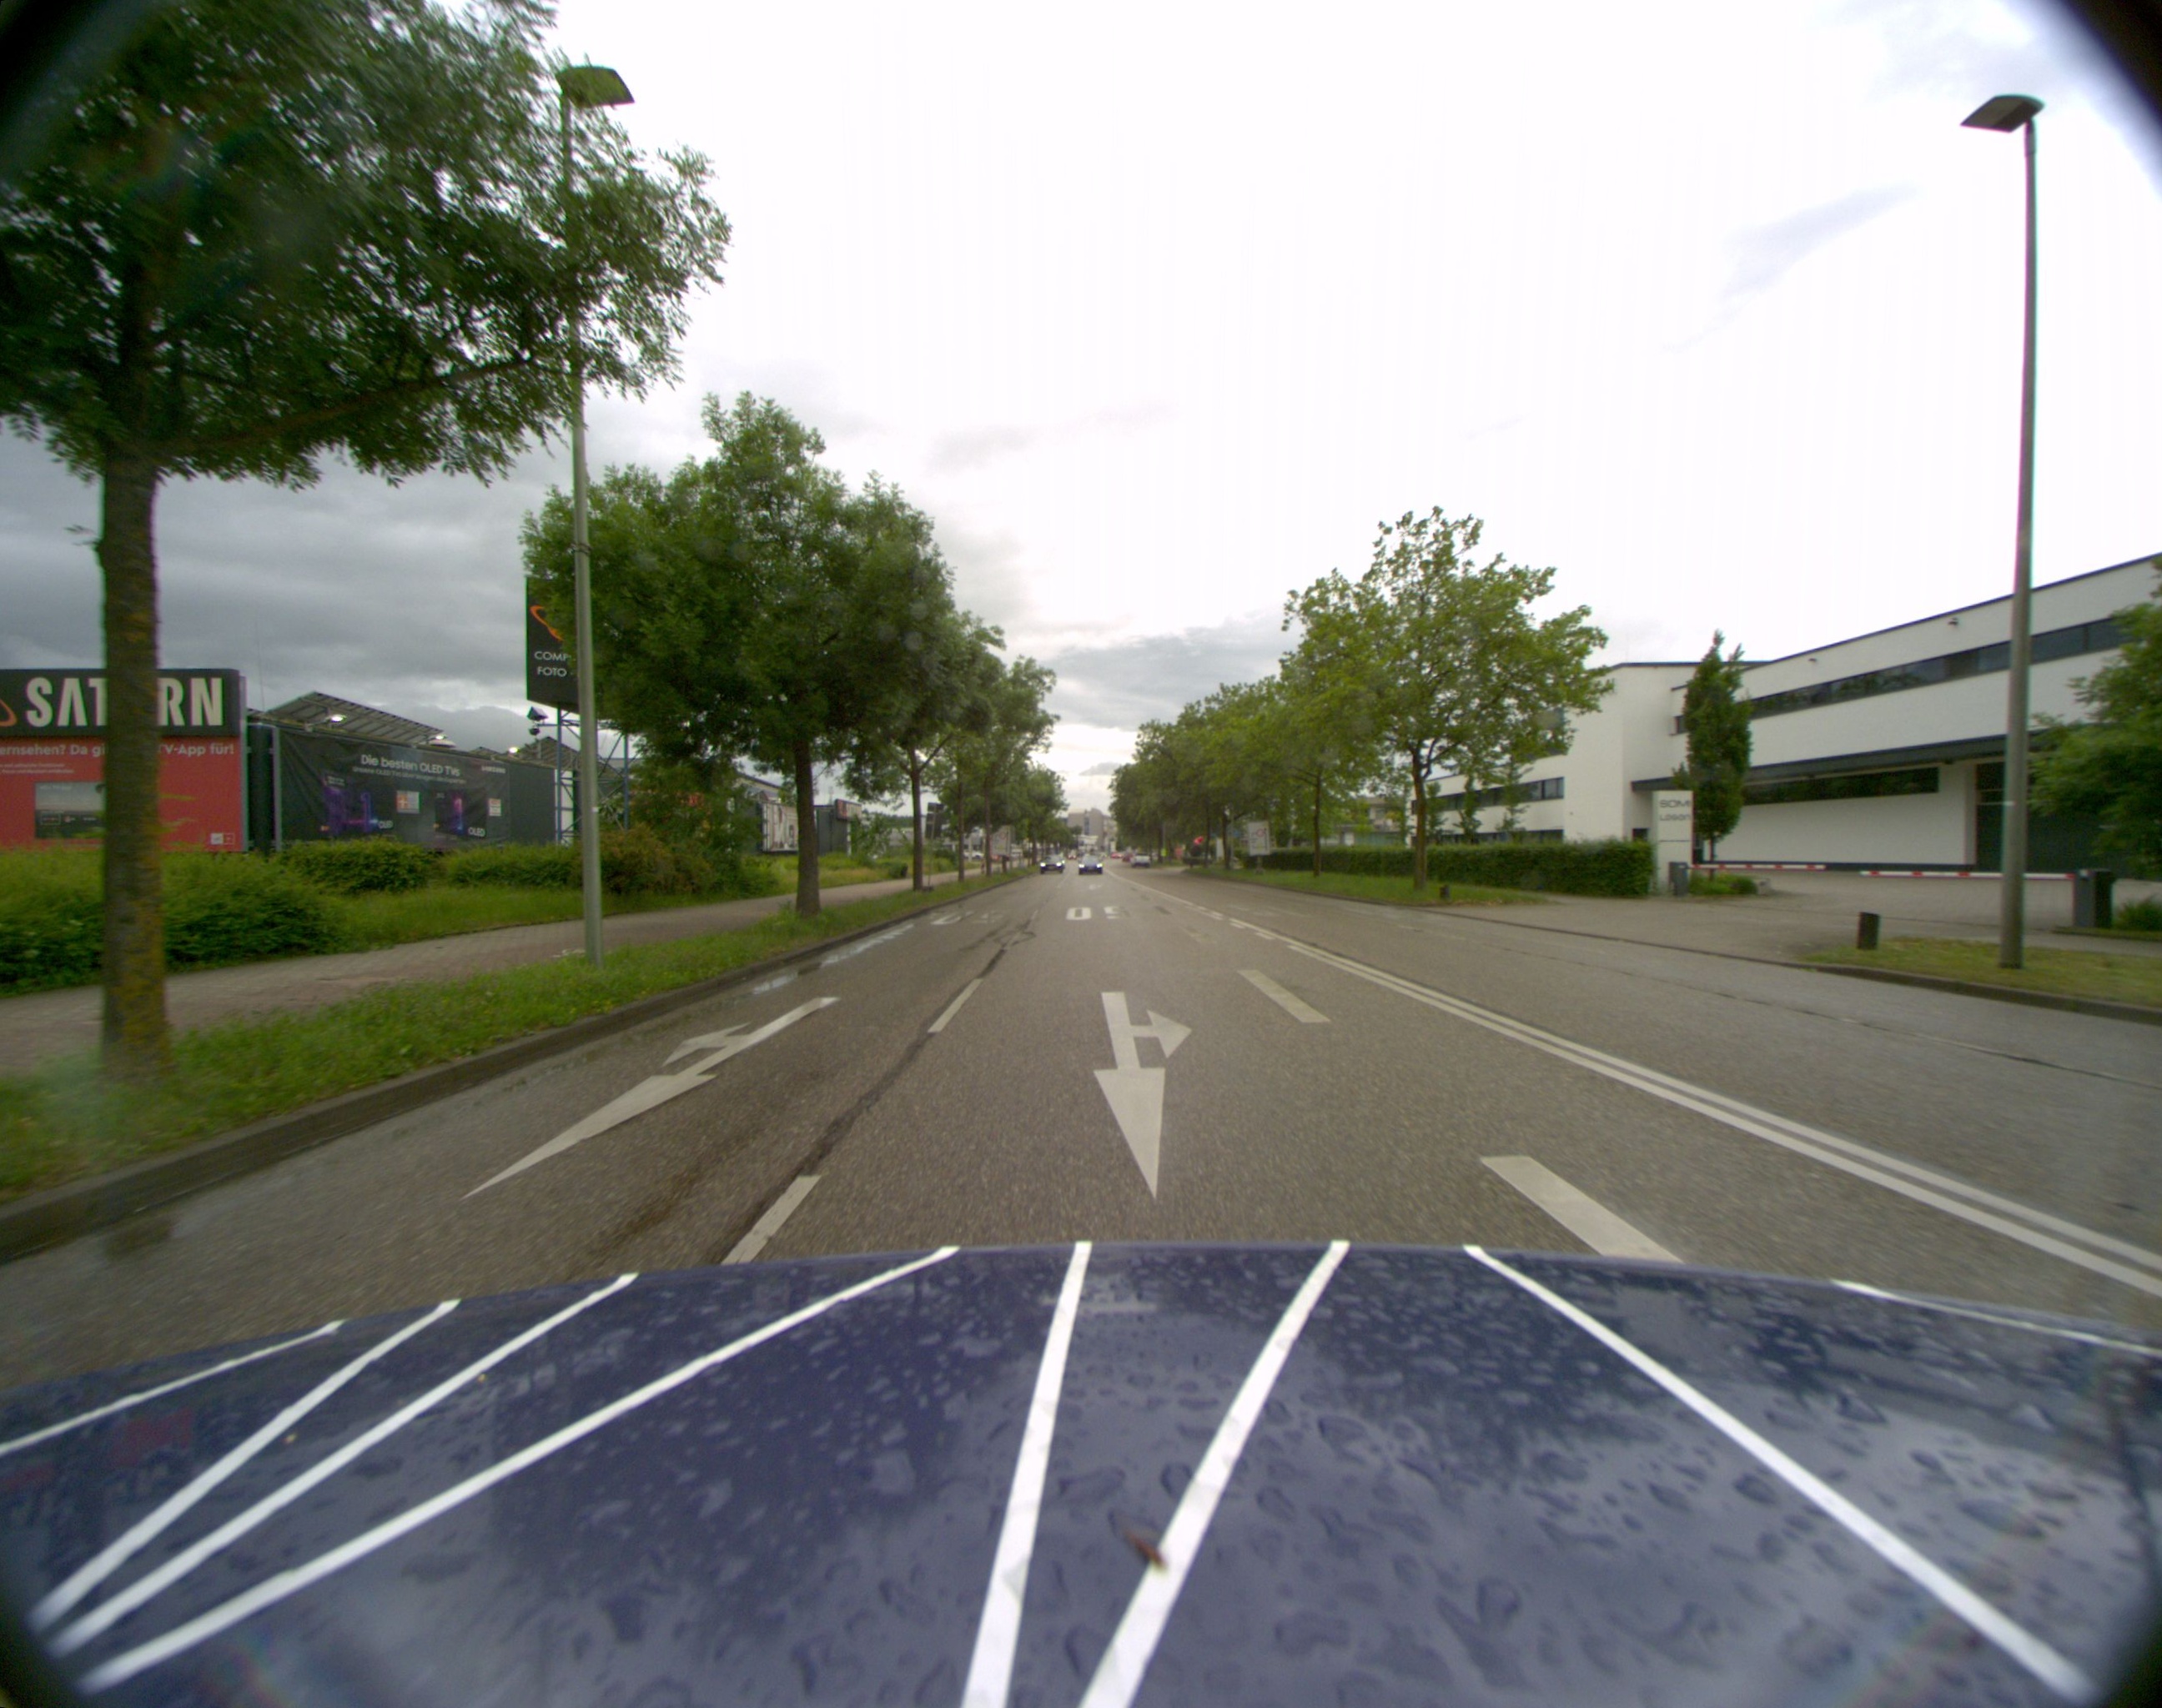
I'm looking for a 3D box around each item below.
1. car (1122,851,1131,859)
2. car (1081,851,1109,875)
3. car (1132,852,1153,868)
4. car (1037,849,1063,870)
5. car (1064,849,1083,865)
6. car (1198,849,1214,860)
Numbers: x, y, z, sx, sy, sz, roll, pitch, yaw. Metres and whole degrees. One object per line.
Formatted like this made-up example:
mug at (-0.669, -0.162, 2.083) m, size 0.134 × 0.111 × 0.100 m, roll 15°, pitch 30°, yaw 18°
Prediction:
car at (9.520, 0.222, 159.677) m, size 1.745 × 1.525 × 4.000 m, roll 2°, pitch 1°, yaw 3°
car at (1.040, 0.665, 58.453) m, size 1.998 × 1.632 × 4.360 m, roll -2°, pitch 1°, yaw 1°
car at (7.004, 0.632, 87.288) m, size 1.916 × 1.795 × 5.340 m, roll 1°, pitch 0°, yaw -1°
car at (-2.670, 0.455, 66.065) m, size 1.998 × 1.632 × 4.360 m, roll -2°, pitch 1°, yaw 1°
car at (-0.838, 0.318, 85.006) m, size 1.998 × 1.632 × 4.360 m, roll -2°, pitch 1°, yaw 1°
car at (17.989, 0.051, 109.388) m, size 1.746 × 1.525 × 4.000 m, roll 2°, pitch 1°, yaw 1°
